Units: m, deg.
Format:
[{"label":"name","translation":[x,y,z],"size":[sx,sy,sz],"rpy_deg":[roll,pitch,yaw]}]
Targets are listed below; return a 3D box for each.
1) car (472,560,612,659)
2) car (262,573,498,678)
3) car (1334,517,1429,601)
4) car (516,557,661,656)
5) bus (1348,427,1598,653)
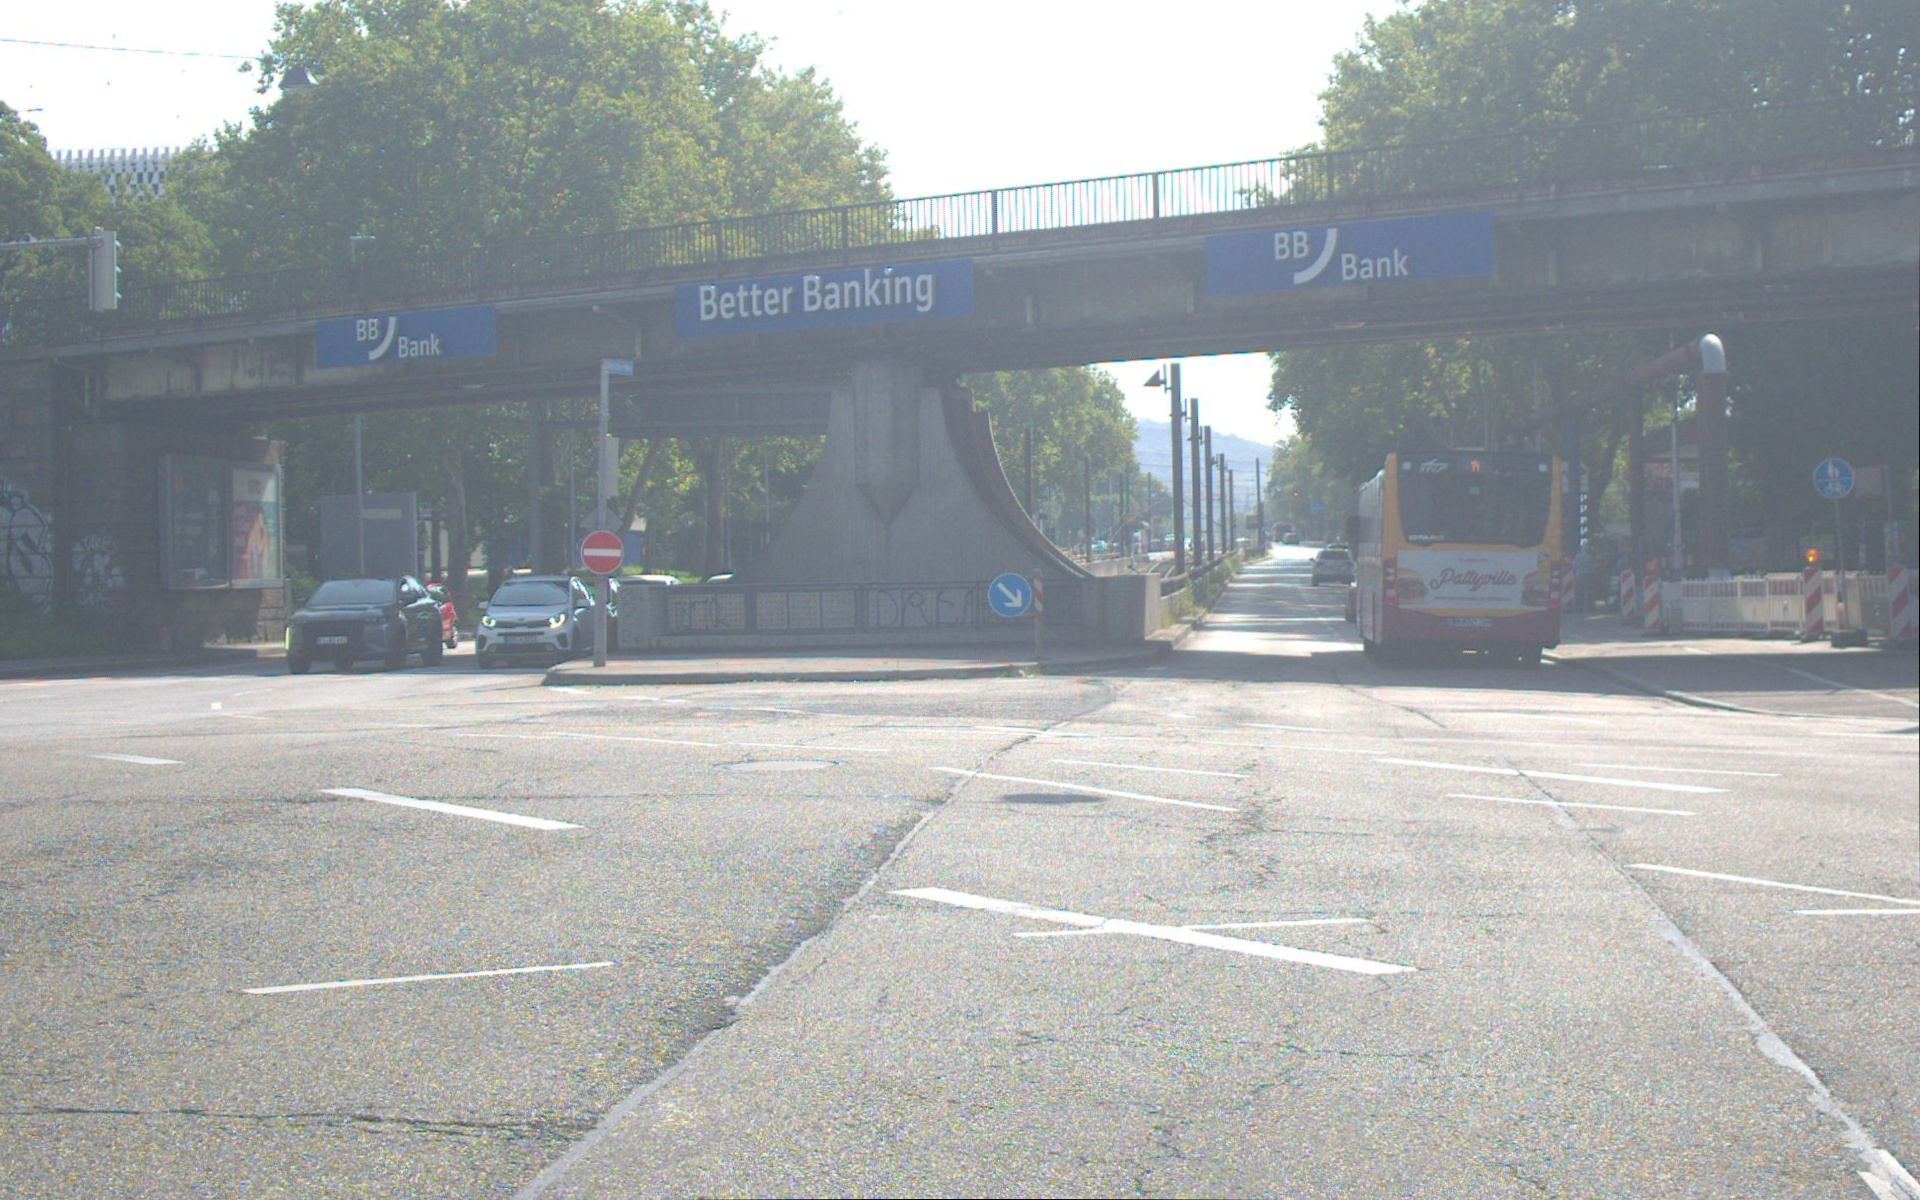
[{"label":"car","translation":[-6.891,0.141,57.004],"size":[1.721,1.533,3.696],"rpy_deg":[-2,0,2]},{"label":"car","translation":[-9.761,0.401,58.193],"size":[1.903,1.611,4.470],"rpy_deg":[-2,0,21]},{"label":"car","translation":[10.518,-1.019,86.081],"size":[1.994,2.007,4.000],"rpy_deg":[2,1,2]},{"label":"car","translation":[-6.614,0.082,61.677],"size":[1.993,1.567,4.348],"rpy_deg":[0,3,2]},{"label":"bus","translation":[7.838,-0.902,54.062],"size":[3.135,3.103,12.288],"rpy_deg":[-1,1,5]}]
